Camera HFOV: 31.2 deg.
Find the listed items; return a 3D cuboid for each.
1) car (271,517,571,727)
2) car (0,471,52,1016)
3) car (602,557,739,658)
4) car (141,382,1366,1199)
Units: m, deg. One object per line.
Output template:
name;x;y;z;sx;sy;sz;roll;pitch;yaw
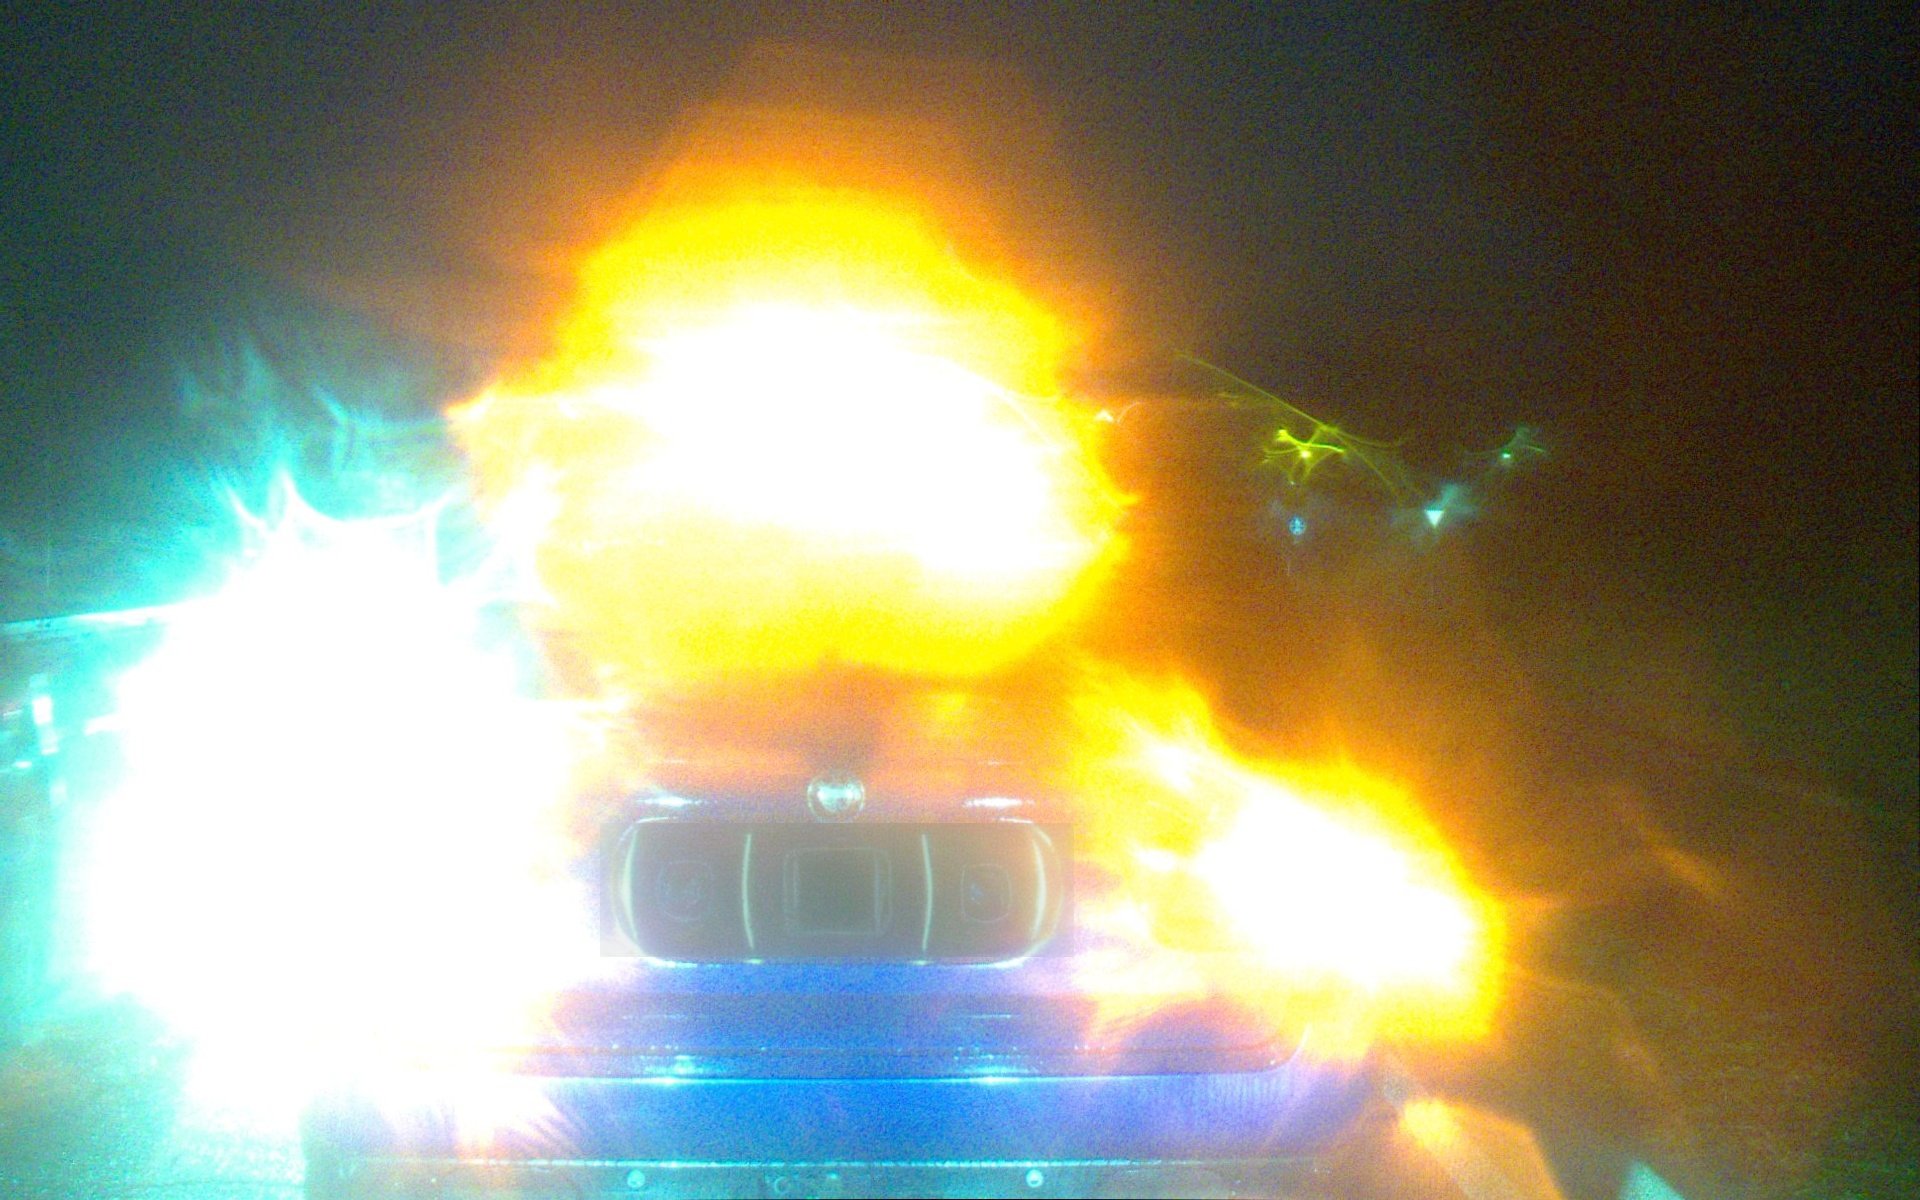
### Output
car;-4.283;0.115;27.909;1.837;1.540;4.257;1;1;-1
car;-3.833;0.473;8.972;1.951;1.650;4.125;-1;1;-2
car;-4.600;0.087;55.120;1.903;1.465;4.275;2;1;-1
car;-0.309;0.523;7.015;1.775;1.706;4.000;1;1;0
